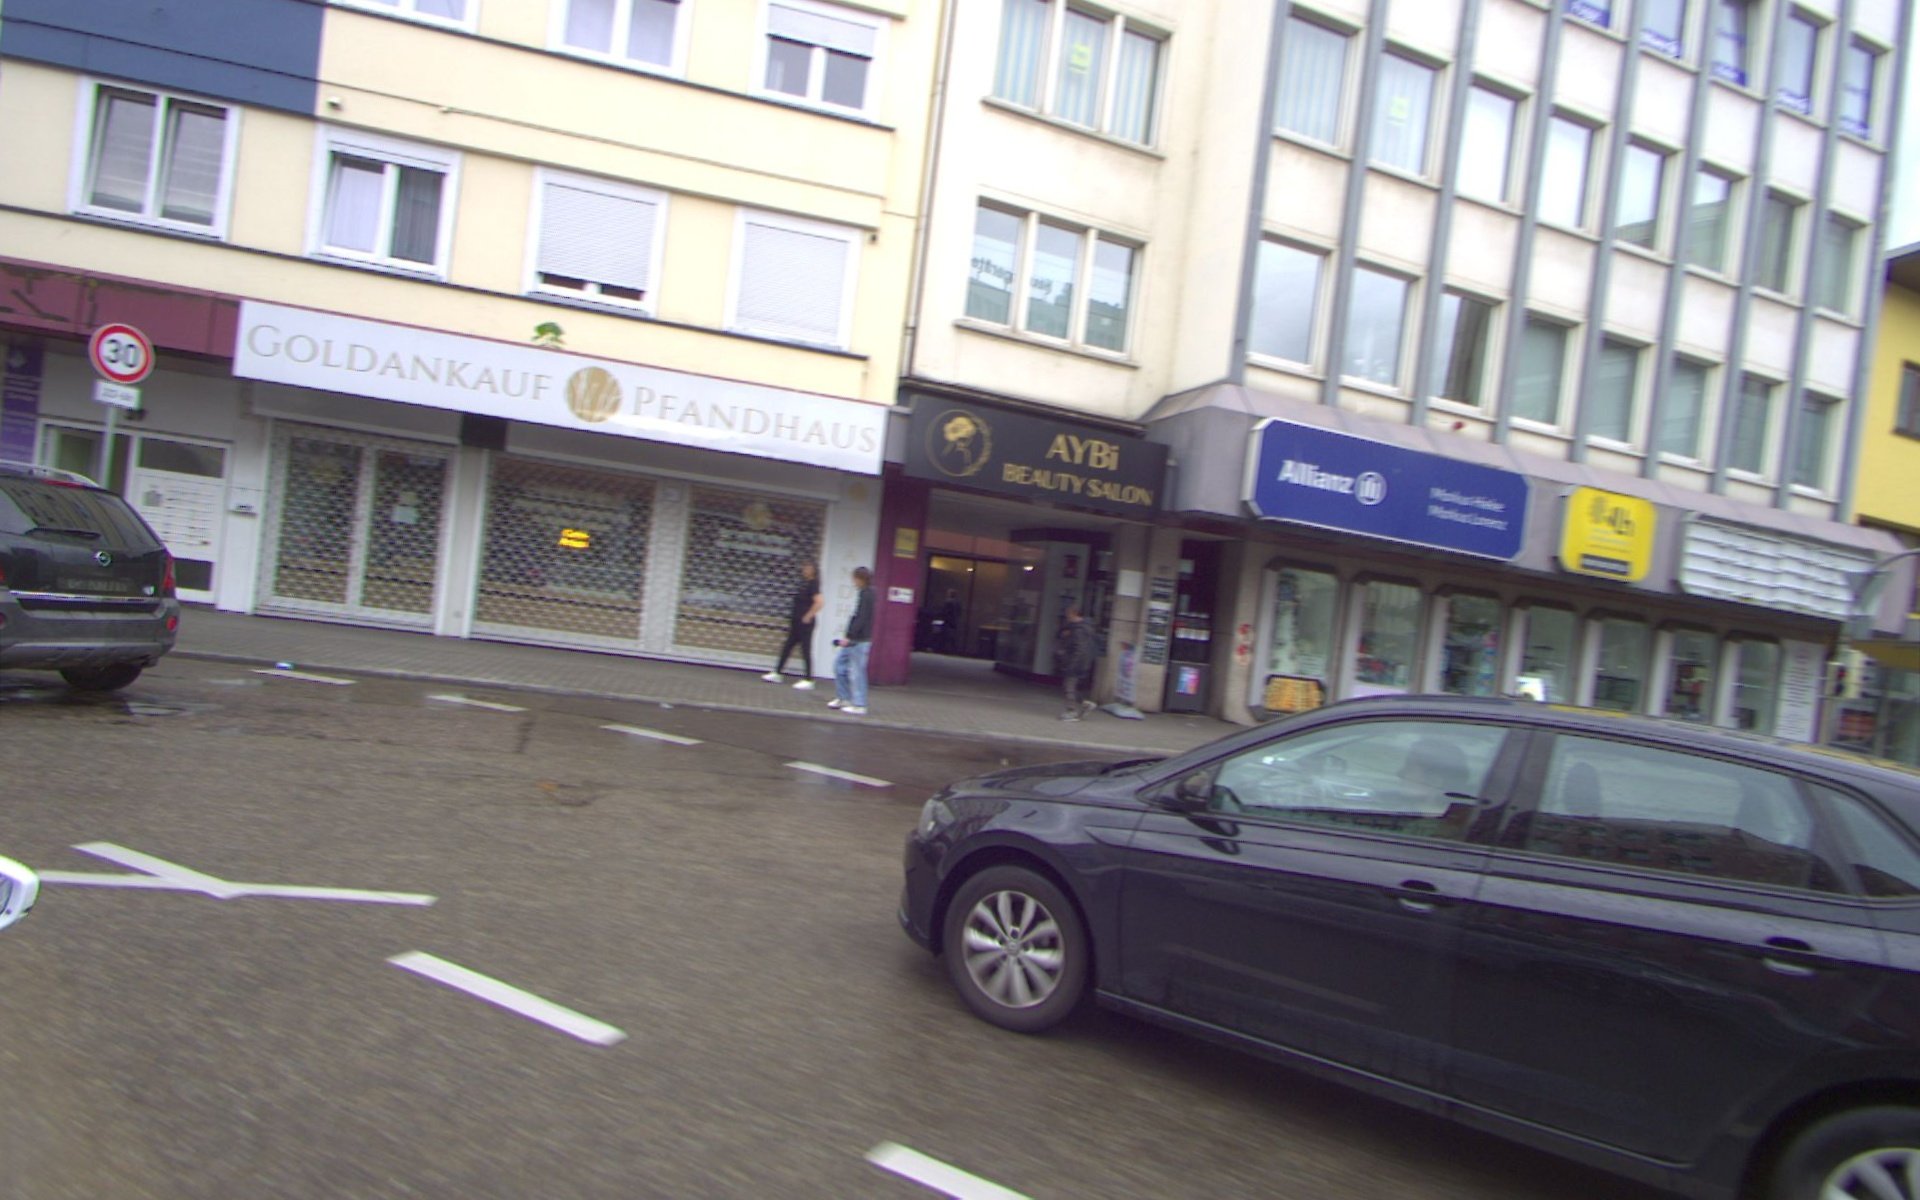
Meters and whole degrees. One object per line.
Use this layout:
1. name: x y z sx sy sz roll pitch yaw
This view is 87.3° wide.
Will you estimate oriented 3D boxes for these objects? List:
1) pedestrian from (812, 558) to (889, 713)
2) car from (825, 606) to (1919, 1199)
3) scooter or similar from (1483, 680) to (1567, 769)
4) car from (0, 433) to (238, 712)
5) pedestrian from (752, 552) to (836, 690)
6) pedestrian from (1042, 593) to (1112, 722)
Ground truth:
1. pedestrian: -1.386 0.428 12.629 0.608 1.788 0.834 8 4 -15
2. car: 1.596 1.010 3.752 3.817 1.447 1.741 7 -1 33
3. scooter or similar: 9.713 2.137 17.298 1.127 1.377 0.377 6 0 -3
4. car: -8.176 -0.389 7.532 4.219 1.807 1.915 7 0 8
5. pedestrian: -2.280 0.296 13.873 0.773 1.784 0.618 6 -1 13
6. pedestrian: 1.699 0.825 14.520 0.739 1.743 0.755 6 -1 13
